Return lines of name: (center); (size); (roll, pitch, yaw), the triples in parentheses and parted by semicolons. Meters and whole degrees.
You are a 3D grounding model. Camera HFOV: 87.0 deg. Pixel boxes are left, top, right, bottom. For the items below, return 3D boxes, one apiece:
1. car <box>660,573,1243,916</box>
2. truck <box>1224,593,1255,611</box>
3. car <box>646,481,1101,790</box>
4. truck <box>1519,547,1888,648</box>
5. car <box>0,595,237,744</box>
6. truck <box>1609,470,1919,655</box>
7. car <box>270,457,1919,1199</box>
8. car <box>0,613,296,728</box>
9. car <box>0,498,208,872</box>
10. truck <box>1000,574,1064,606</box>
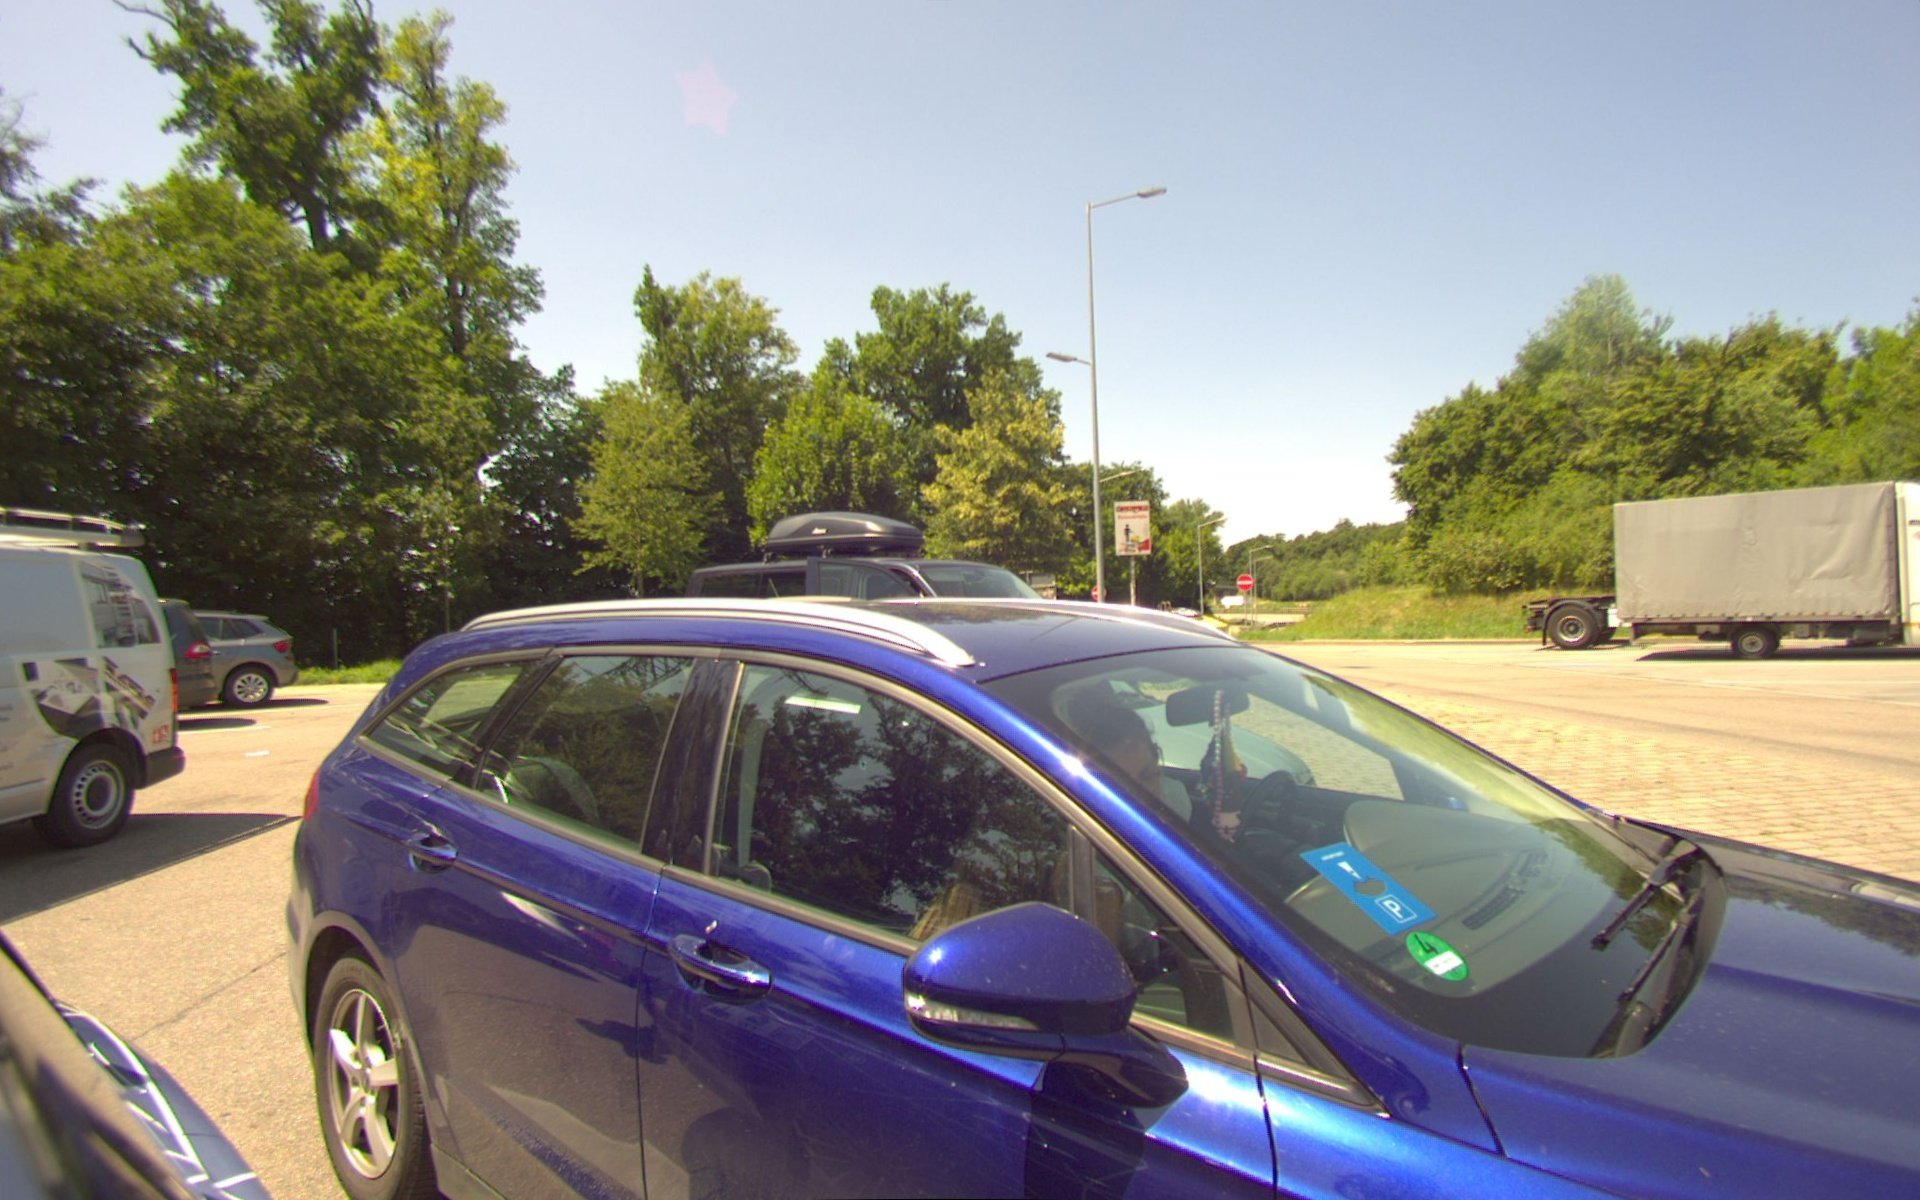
car: (-0.200, 0.615, 5.589); (3.112, 1.370, 1.326); (-2, -1, 41)
truck: (67.850, 0.409, 246.075); (2.805, 4.148, 12.005); (-1, 0, -6)
car: (-0.921, 0.329, 9.567); (4.076, 2.336, 1.767); (-2, -1, 35)
truck: (16.862, 0.041, 23.382); (6.613, 2.029, 1.973); (-2, -1, 41)
car: (-11.416, 0.819, 12.510); (1.755, 1.701, 3.798); (-2, -1, 45)
truck: (16.580, -0.627, 18.863); (7.253, 3.175, 2.148); (-2, -1, 41)
car: (0.247, 0.651, 2.090); (4.411, 1.429, 1.721); (-2, -1, 41)
car: (-12.521, 0.994, 15.664); (3.535, 1.513, 1.708); (-1, 0, -42)
car: (-6.267, 0.469, 4.747); (1.816, 2.121, 5.440); (0, -1, -5)
truck: (3.473, -0.470, 48.790); (2.866, 1.386, 1.158); (-2, -1, 22)
